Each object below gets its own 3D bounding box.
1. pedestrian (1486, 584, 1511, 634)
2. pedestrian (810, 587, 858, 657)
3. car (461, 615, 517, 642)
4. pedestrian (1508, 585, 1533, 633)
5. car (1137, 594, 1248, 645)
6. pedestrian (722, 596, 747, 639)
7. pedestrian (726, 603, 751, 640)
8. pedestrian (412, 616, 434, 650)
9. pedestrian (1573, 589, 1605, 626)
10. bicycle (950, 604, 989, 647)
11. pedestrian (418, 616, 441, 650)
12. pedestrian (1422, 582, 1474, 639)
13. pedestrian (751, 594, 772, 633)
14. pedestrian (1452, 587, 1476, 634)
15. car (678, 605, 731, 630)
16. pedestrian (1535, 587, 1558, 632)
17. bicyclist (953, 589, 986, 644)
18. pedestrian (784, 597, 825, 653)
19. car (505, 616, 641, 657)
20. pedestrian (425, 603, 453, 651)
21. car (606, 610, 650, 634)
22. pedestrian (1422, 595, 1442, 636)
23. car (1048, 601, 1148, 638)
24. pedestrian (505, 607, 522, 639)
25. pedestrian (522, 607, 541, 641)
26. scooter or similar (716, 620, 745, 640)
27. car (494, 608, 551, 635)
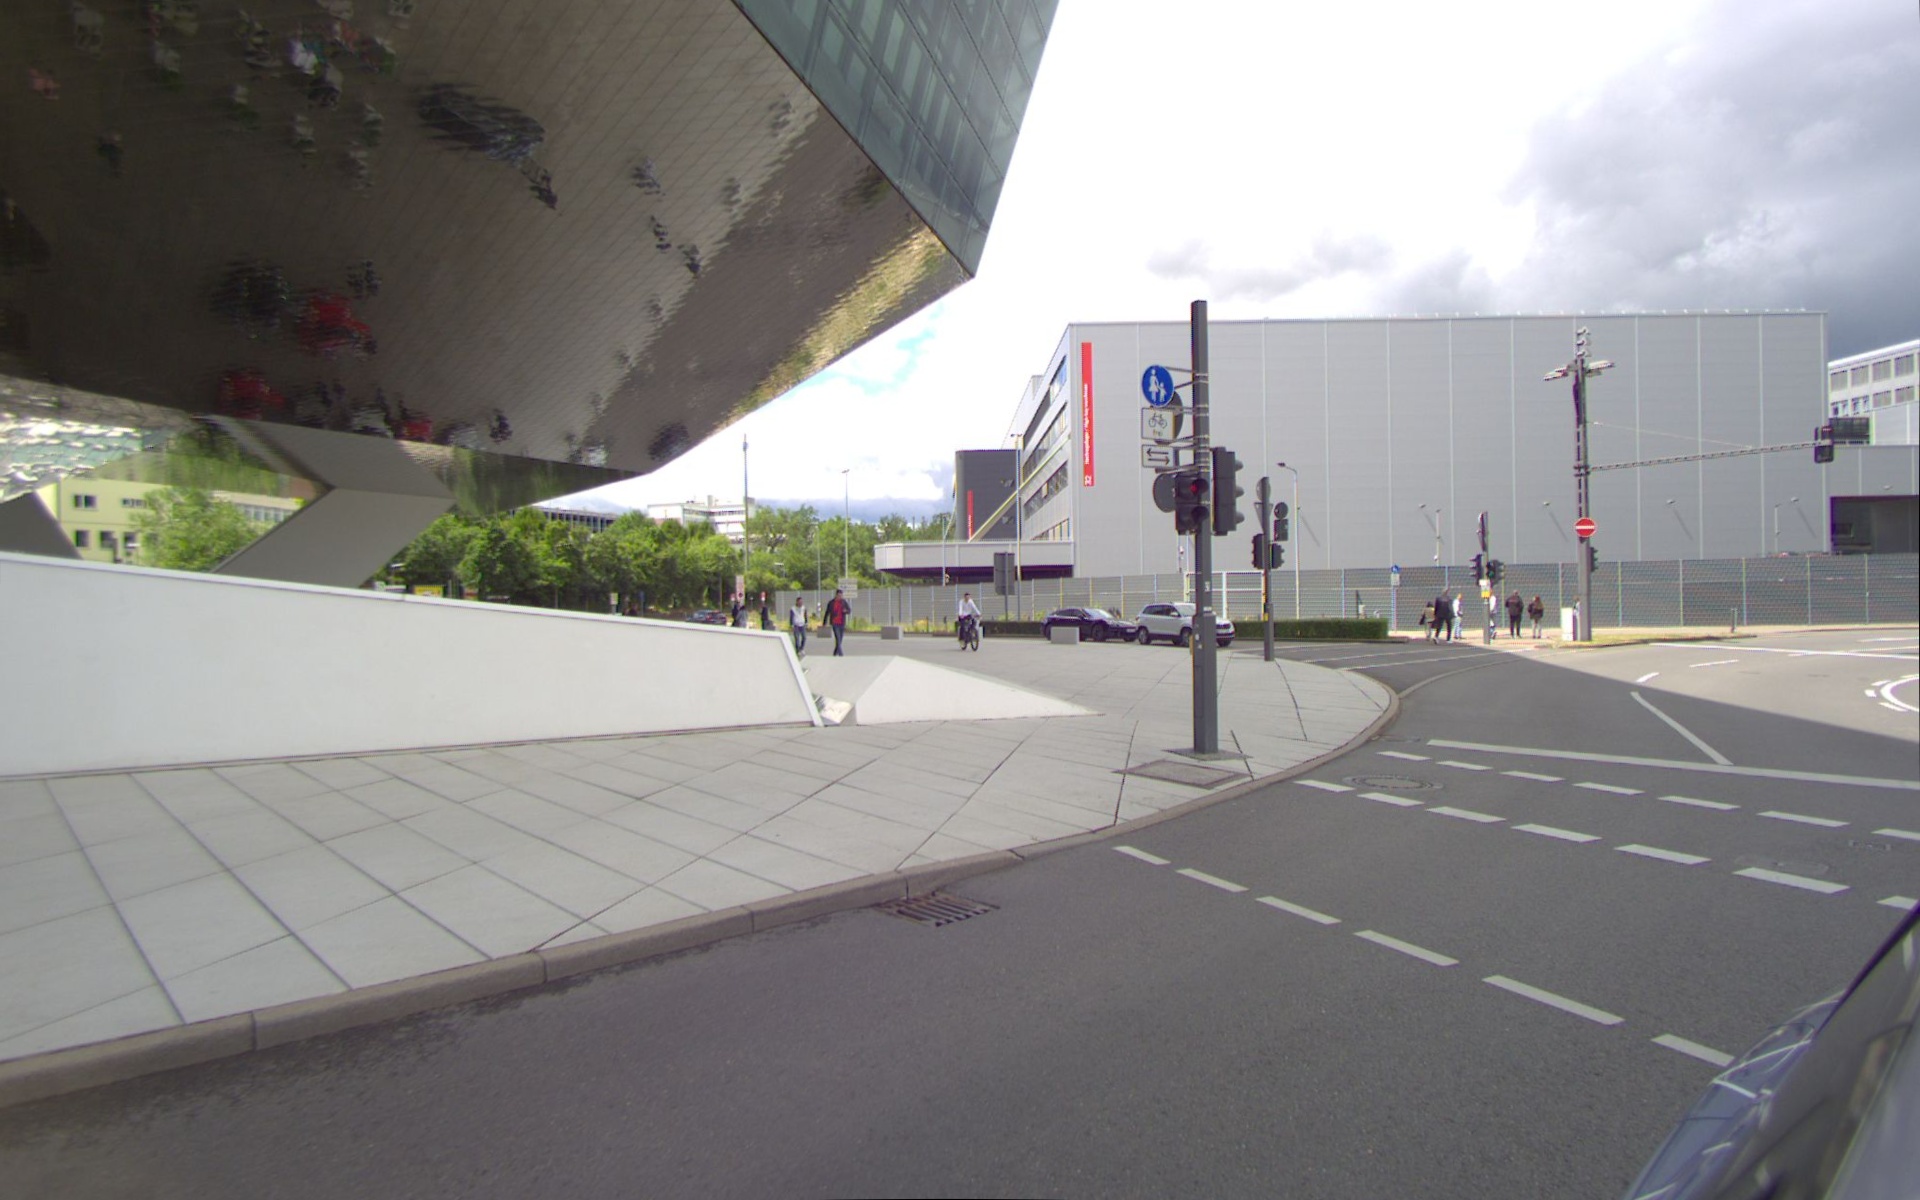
[{"bbox_3d":[20.637,0.347,38.799,0.611,1.870,0.670,-3,0,15],"label":"pedestrian"},{"bbox_3d":[-3.439,0.592,27.580,0.907,1.849,0.829,-2,-1,-39],"label":"pedestrian"},{"bbox_3d":[-29.498,1.804,63.362,3.987,1.574,1.858,-3,0,45],"label":"car"},{"bbox_3d":[21.404,0.338,38.639,0.611,1.817,0.669,-3,0,16],"label":"pedestrian"},{"bbox_3d":[8.247,0.654,36.261,1.801,1.569,4.008,-3,2,-24],"label":"car"},{"bbox_3d":[-11.035,0.842,49.470,0.824,2.039,0.765,-3,-1,42],"label":"pedestrian"},{"bbox_3d":[-9.814,0.952,44.813,0.788,1.560,0.787,-2,0,-34],"label":"pedestrian"},{"bbox_3d":[-29.439,1.810,55.477,0.825,1.761,0.764,-3,-1,45],"label":"pedestrian"},{"bbox_3d":[28.132,0.329,45.286,0.904,1.606,0.695,-3,0,2],"label":"pedestrian"},{"bbox_3d":[0.286,0.799,32.126,0.764,1.290,1.930,-3,0,-13],"label":"bicycle"},{"bbox_3d":[-28.505,1.766,54.388,0.824,1.761,0.765,-3,-1,42],"label":"pedestrian"},{"bbox_3d":[17.545,0.378,36.390,1.352,2.010,0.958,0,-1,-14],"label":"pedestrian"},{"bbox_3d":[-10.499,0.697,53.530,0.814,2.039,0.775,-3,0,8],"label":"pedestrian"},{"bbox_3d":[19.570,0.391,39.304,0.611,1.781,0.604,-3,0,16],"label":"pedestrian"},{"bbox_3d":[-19.934,1.387,78.851,3.980,1.724,1.972,-3,0,40],"label":"car"},{"bbox_3d":[22.207,0.375,38.327,0.668,1.658,0.613,-3,-1,33],"label":"pedestrian"},{"bbox_3d":[0.299,0.527,32.132,0.756,1.674,0.938,-3,0,-14],"label":"bicyclist"},{"bbox_3d":[-4.872,0.776,31.740,0.907,1.697,0.829,-2,0,-39],"label":"pedestrian"},{"bbox_3d":[-14.409,1.326,37.982,1.980,1.236,4.636,-3,0,26],"label":"car"},{"bbox_3d":[-22.718,1.166,44.133,0.824,2.039,0.765,-3,-1,42],"label":"pedestrian"},{"bbox_3d":[-24.682,1.632,75.156,1.853,1.663,3.995,-3,0,-38],"label":"car"},{"bbox_3d":[18.003,0.569,38.601,0.577,1.515,0.764,-3,0,27],"label":"pedestrian"},{"bbox_3d":[5.603,0.791,41.546,1.803,1.401,4.159,-1,-1,-33],"label":"car"},{"bbox_3d":[-28.759,1.494,65.161,0.763,2.039,0.826,-2,-1,-41],"label":"pedestrian"},{"bbox_3d":[-26.560,1.504,62.693,0.824,2.039,0.765,-3,-1,42],"label":"pedestrian"},{"bbox_3d":[-10.362,1.336,45.663,0.931,0.850,1.113,-3,0,-34],"label":"scooter or similar"},{"bbox_3d":[-37.279,1.848,86.230,4.131,2.039,2.000,-3,0,-33],"label":"car"}]
